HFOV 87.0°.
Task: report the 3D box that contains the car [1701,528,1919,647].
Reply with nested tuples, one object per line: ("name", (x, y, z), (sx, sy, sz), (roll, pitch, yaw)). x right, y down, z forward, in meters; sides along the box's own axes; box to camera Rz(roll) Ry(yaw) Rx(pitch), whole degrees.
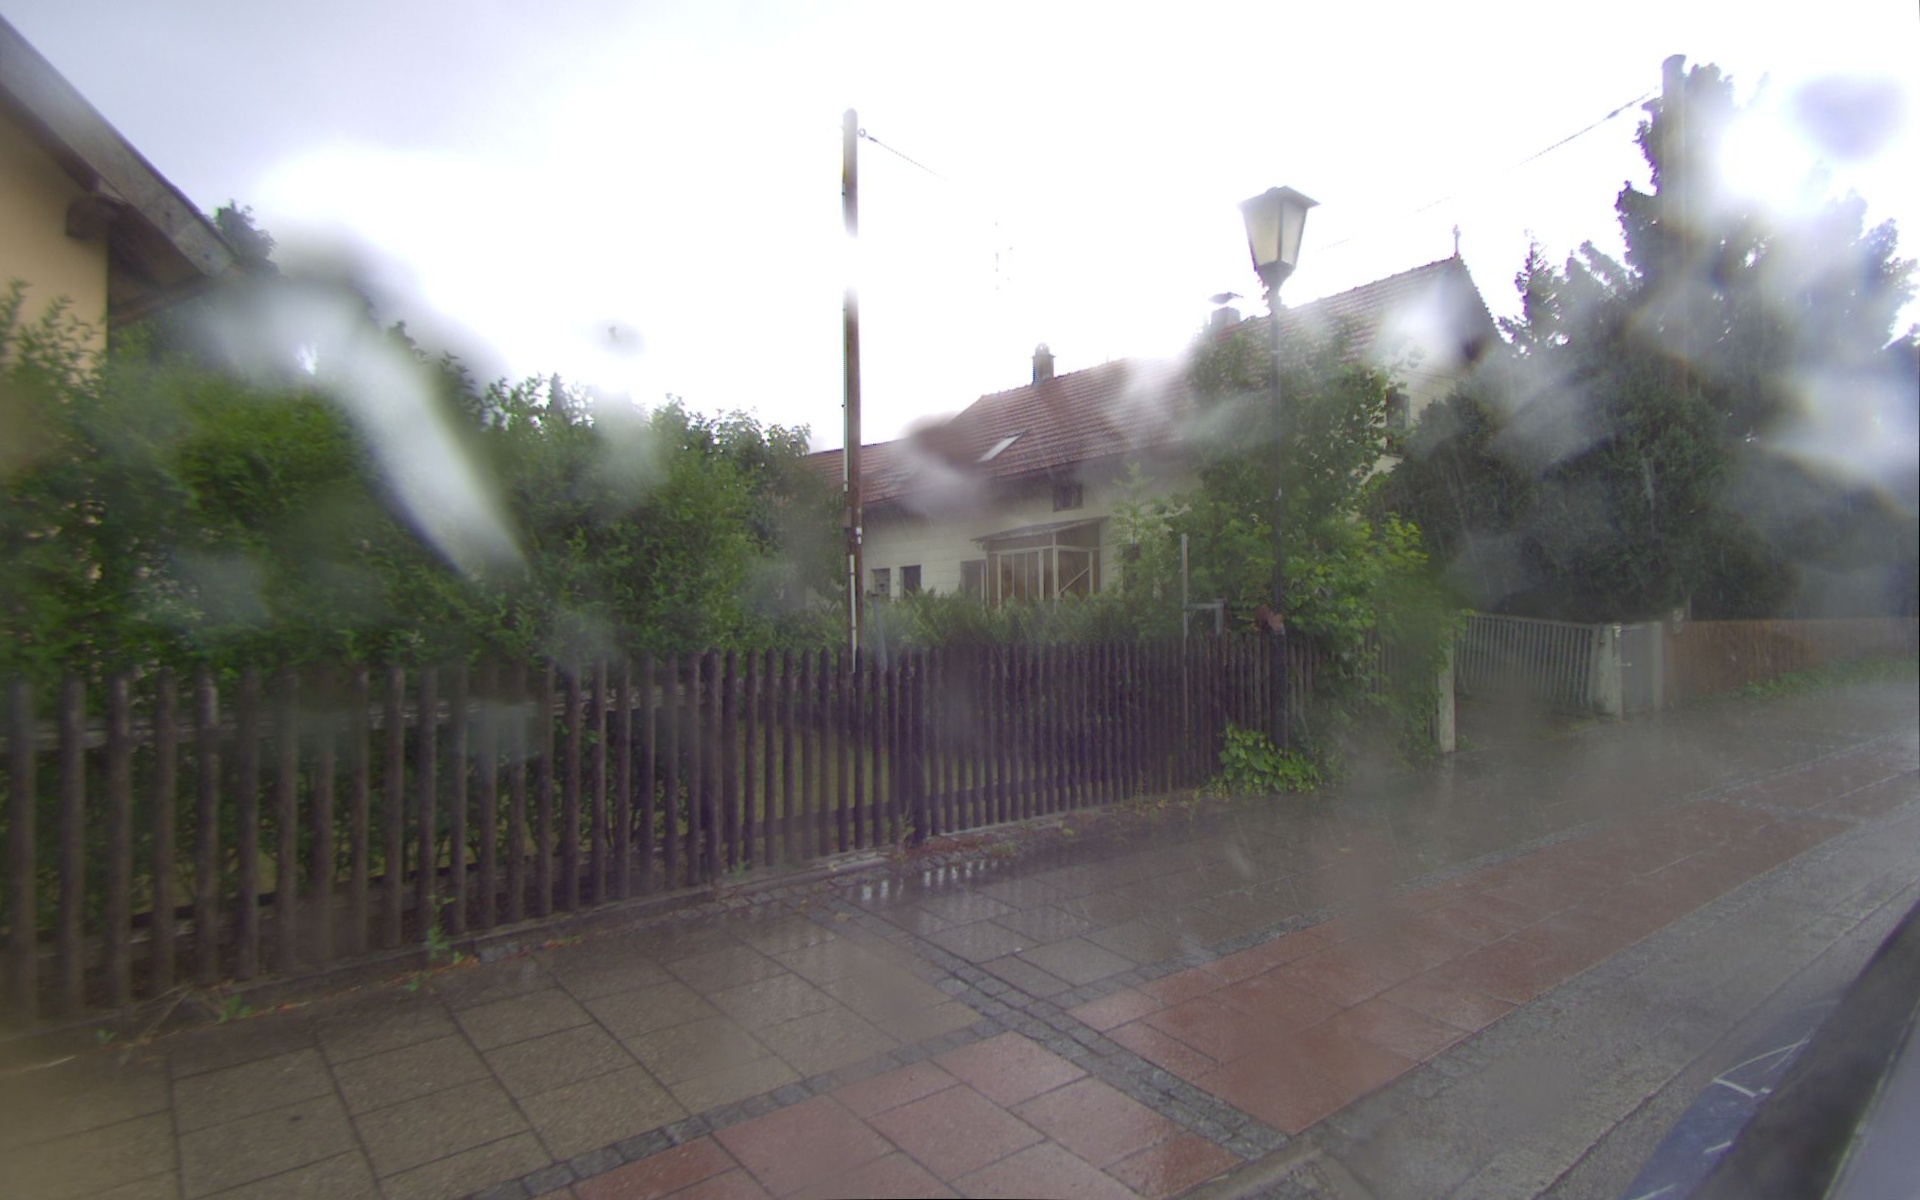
("car", (22.001, -0.350, 25.294), (1.967, 2.761, 5.308), (-1, 2, -44))

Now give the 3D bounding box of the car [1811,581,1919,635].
("car", (27.419, 0.243, 28.985), (1.799, 1.438, 4.436), (-1, 3, -42))
